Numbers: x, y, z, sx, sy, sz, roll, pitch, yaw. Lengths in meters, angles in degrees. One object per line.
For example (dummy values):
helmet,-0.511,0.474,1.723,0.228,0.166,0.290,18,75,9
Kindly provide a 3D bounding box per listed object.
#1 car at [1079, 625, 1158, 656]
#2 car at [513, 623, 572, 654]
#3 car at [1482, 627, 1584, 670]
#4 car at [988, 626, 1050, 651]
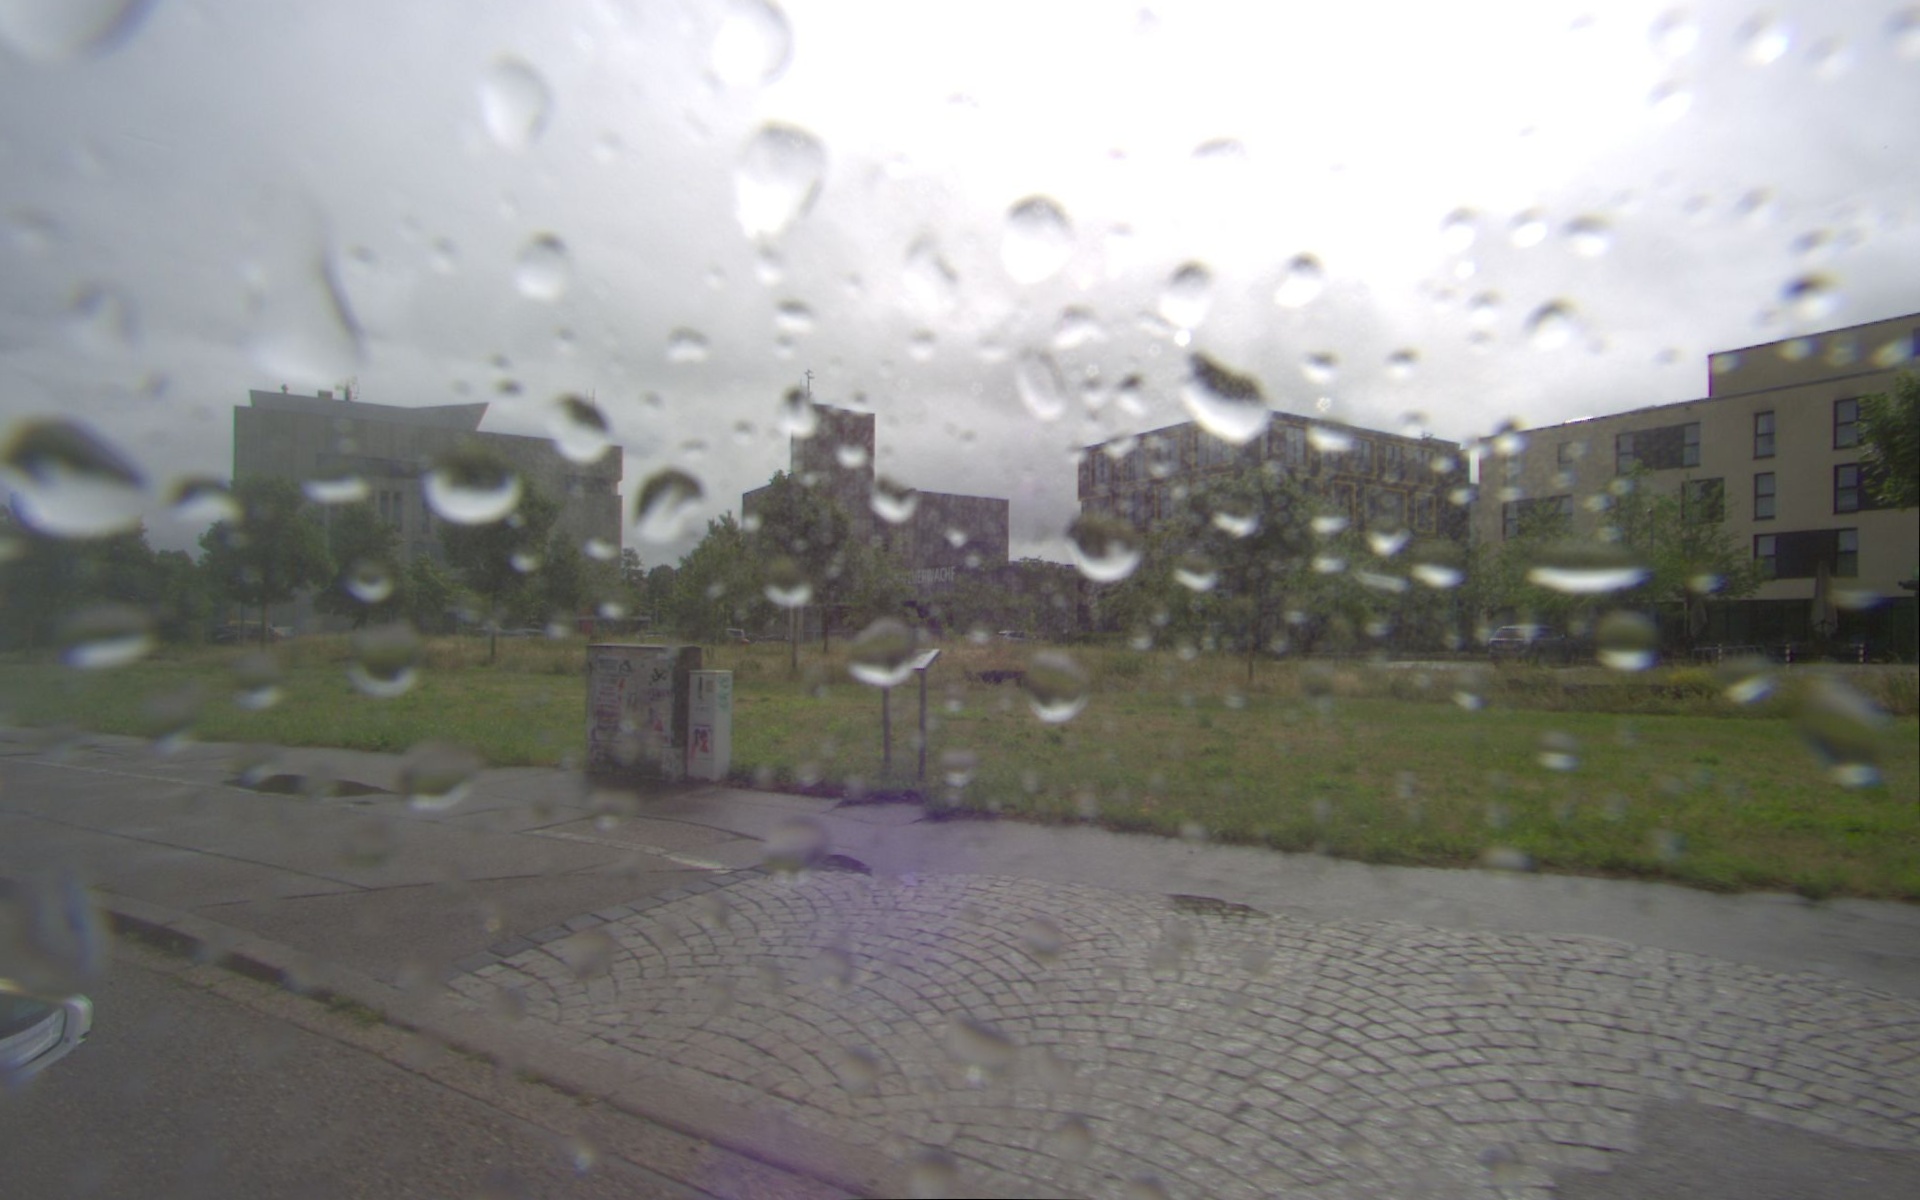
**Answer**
car,9.628,2.454,60.865,4.492,1.784,1.990,1,-2,-30
car,-28.384,2.639,68.170,3.649,2.039,1.994,1,-2,-23
car,22.801,1.888,39.800,4.158,1.577,1.659,0,-1,-30
car,4.116,2.687,69.584,3.942,1.742,1.761,2,-2,-29
